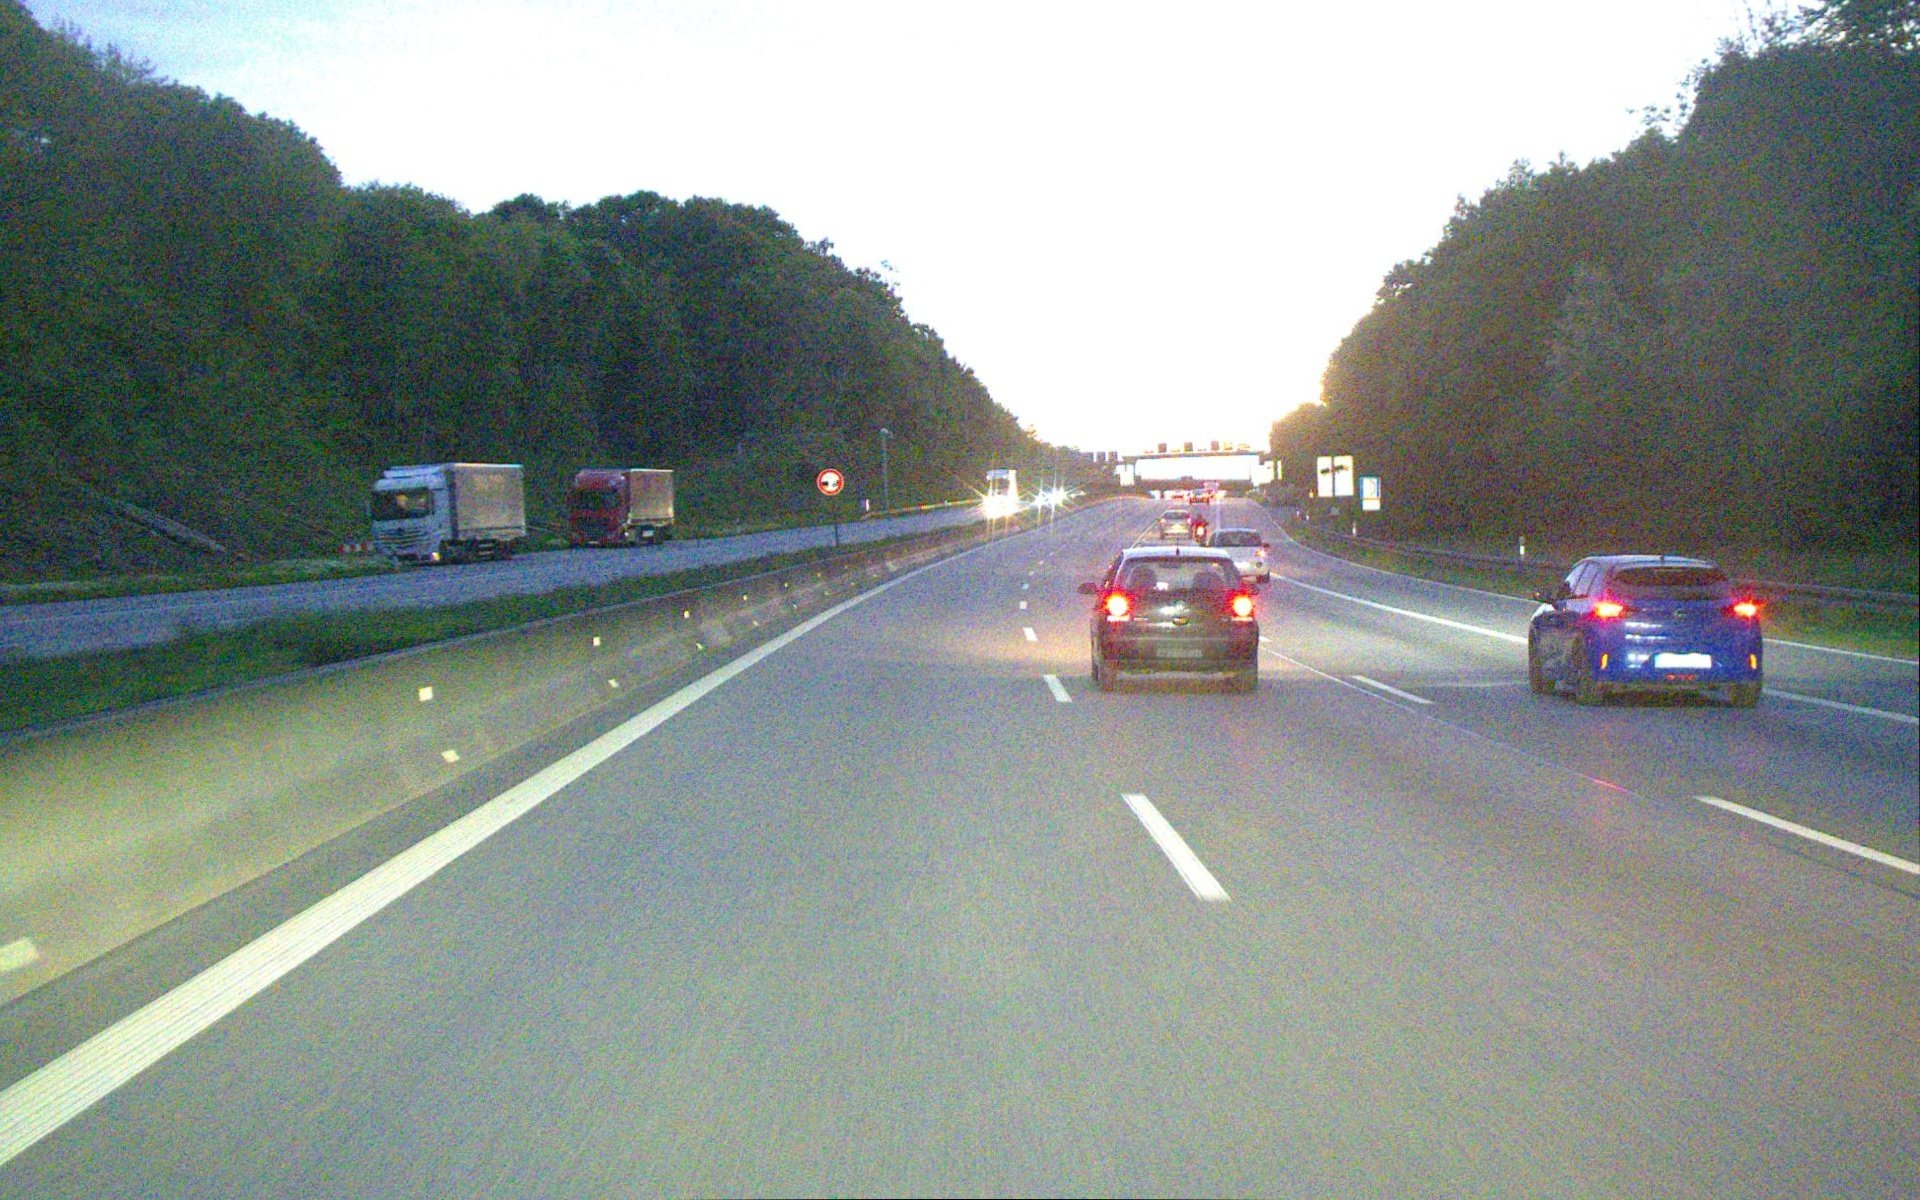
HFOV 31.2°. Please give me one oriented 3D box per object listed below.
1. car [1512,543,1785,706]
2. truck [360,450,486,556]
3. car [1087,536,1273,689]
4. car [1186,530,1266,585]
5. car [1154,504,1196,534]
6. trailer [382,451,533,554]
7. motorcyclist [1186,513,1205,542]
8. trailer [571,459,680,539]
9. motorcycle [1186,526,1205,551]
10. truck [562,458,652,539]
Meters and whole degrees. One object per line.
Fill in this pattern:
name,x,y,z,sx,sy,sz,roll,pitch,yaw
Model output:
car,6.696,0.187,33.890,1.865,1.431,4.584,0,2,2
truck,-21.426,-3.873,137.655,3.191,4.090,7.688,0,1,5
car,2.249,0.089,36.014,1.704,1.504,4.232,0,1,0
car,7.288,-1.167,94.541,1.825,1.470,4.399,0,1,0
car,11.158,-4.193,178.734,1.865,1.489,4.399,0,1,0
trailer,-20.894,-4.083,143.970,3.191,4.090,13.738,0,1,5
motorcyclist,10.708,-3.315,156.420,0.830,1.287,1.190,-1,1,4
trailer,-17.769,-5.361,183.961,3.191,4.090,14.182,0,1,5
motorcycle,10.725,-2.797,156.499,0.830,1.130,2.476,-1,1,4
truck,-18.265,-5.275,178.382,3.191,4.090,7.688,0,1,5
